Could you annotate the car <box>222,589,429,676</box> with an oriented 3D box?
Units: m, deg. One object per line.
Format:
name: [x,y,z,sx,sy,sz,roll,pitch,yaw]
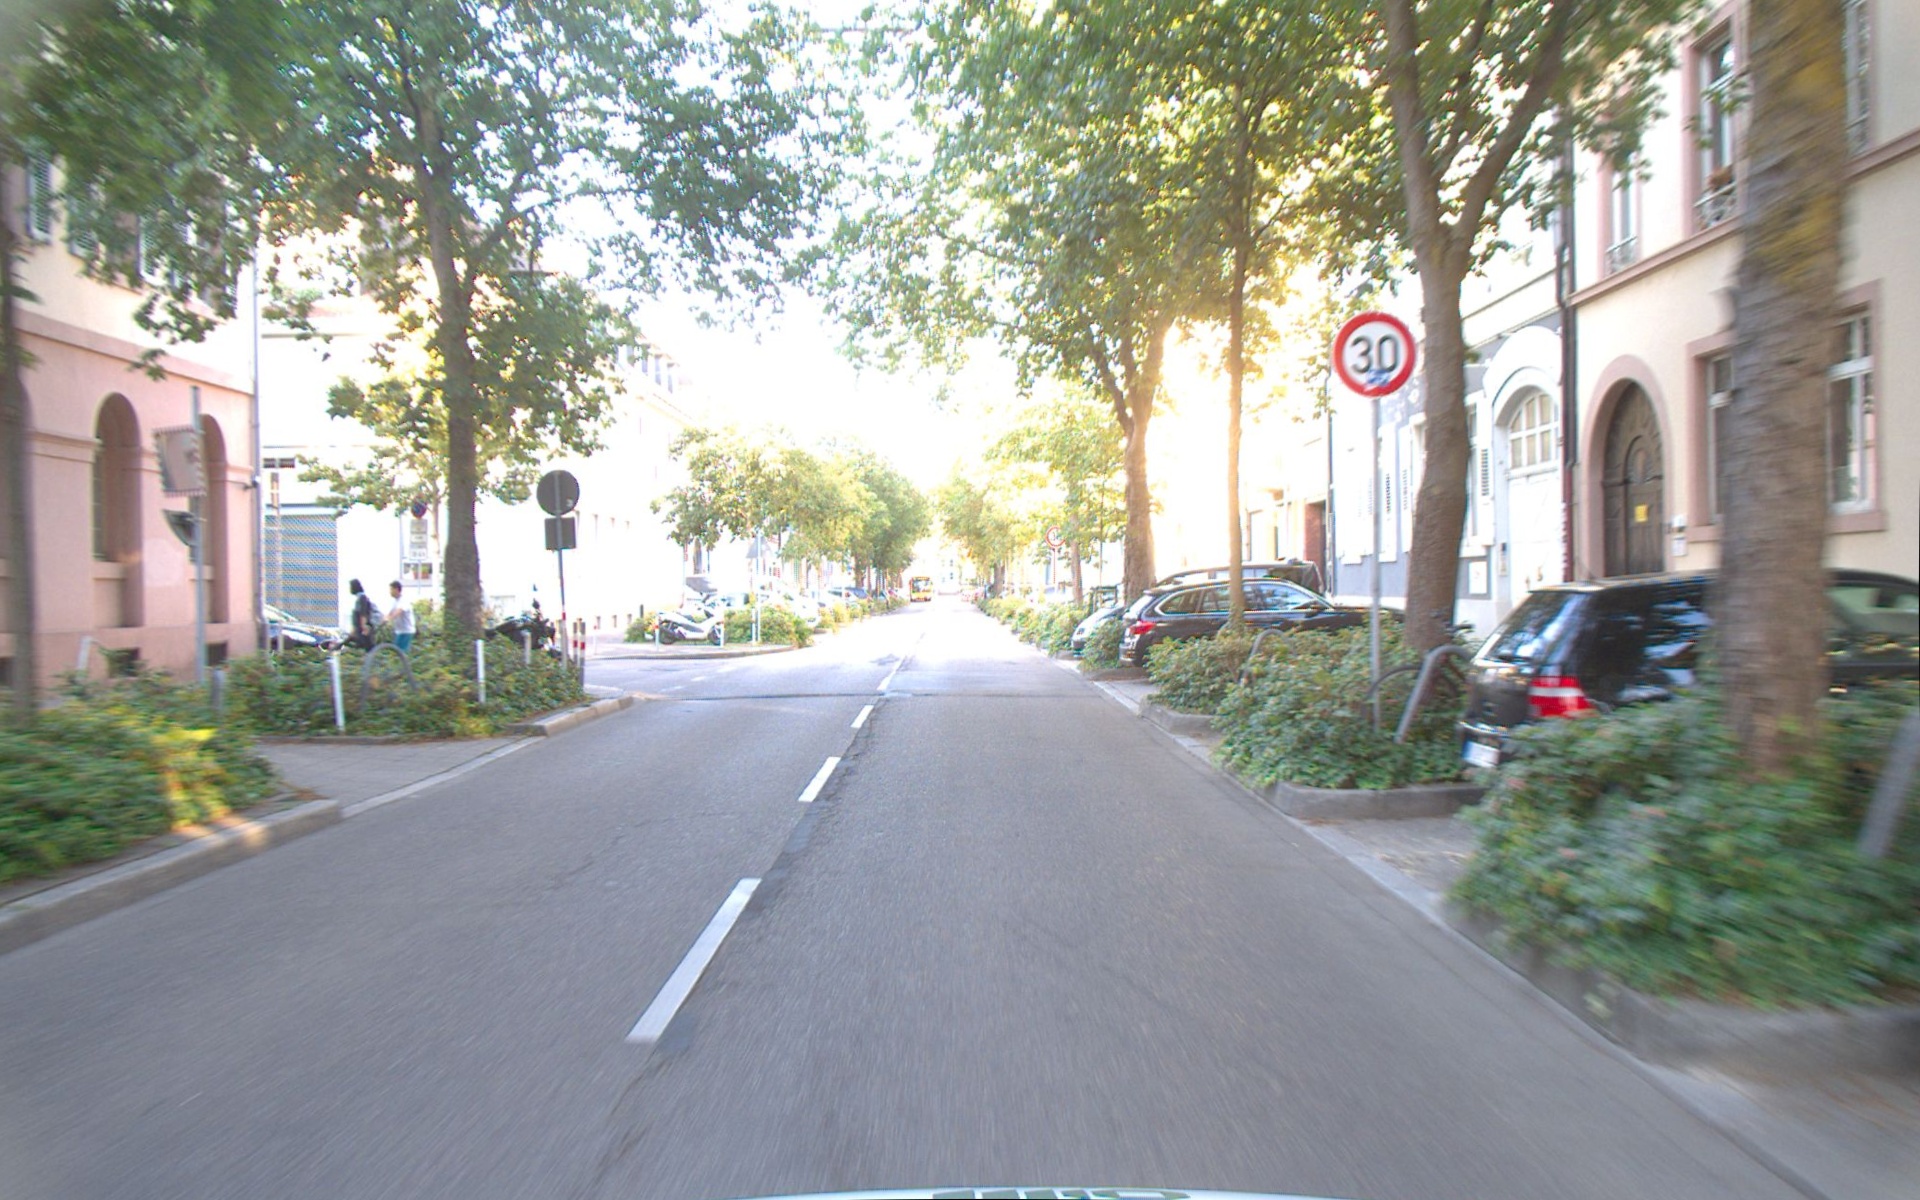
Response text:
car: [-12.000,0.598,31.403,3.322,1.530,1.461,-2,0,1]

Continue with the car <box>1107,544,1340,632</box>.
car: [4.772,-0.222,30.305,3.933,1.443,1.780,-2,0,-2]

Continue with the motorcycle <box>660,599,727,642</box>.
motorcycle: [-6.879,0.516,42.734,1.603,1.087,0.656,0,0,-1]

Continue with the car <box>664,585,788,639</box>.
car: [-7.307,0.358,51.924,3.652,1.534,1.872,-2,1,-4]

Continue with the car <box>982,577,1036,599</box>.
car: [3.614,-0.881,122.458,3.907,1.467,1.696,-2,1,-2]

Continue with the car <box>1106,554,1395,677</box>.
car: [4.250,0.210,24.619,3.933,1.651,1.780,-2,0,-2]

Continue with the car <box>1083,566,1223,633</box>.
car: [5.083,-0.027,43.869,3.540,1.655,1.586,-1,1,2]

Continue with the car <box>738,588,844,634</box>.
car: [-8.450,0.548,82.974,4.959,2.119,2.263,-2,1,1]

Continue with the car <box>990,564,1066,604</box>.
car: [3.551,-0.837,86.232,3.904,2.049,2.001,-1,0,3]

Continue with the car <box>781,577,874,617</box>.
car: [-7.466,-0.175,93.637,4.960,2.119,2.263,-2,1,1]

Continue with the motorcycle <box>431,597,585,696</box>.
motorcycle: [-6.033,0.613,22.137,1.880,1.280,0.591,-1,0,-1]

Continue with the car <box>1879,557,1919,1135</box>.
car: [4.528,0.561,3.502,4.107,1.506,1.852,-3,1,-1]

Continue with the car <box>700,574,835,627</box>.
car: [-7.543,0.005,65.244,4.959,1.855,2.264,-2,3,1]

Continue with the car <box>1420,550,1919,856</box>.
car: [4.829,0.492,9.351,3.933,1.506,1.780,-1,0,-2]

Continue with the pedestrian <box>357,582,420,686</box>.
pedestrian: [-9.600,0.557,27.824,0.703,1.693,0.838,-1,0,2]

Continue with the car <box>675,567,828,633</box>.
car: [-7.176,-0.025,57.317,4.961,2.119,2.263,-2,1,-1]

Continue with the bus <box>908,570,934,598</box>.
bus: [-4.728,-1.921,200.333,2.967,3.246,9.400,-1,1,-2]

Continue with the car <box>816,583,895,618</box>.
car: [-6.896,0.021,109.676,4.960,2.119,2.263,-2,1,1]

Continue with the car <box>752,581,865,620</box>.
car: [-7.040,0.003,77.385,4.958,1.645,2.264,-1,1,3]

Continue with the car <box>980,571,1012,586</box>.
car: [4.655,-2.809,212.545,3.902,1.802,2.002,-1,1,8]

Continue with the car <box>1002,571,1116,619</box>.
car: [3.997,-0.226,67.589,4.498,1.792,2.222,-2,1,0]

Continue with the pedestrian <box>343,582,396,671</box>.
pedestrian: [-9.609,0.428,26.935,0.641,1.419,0.607,0,0,-1]

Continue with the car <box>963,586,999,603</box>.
car: [2.400,-0.606,189.441,3.902,1.870,2.002,-1,0,7]
